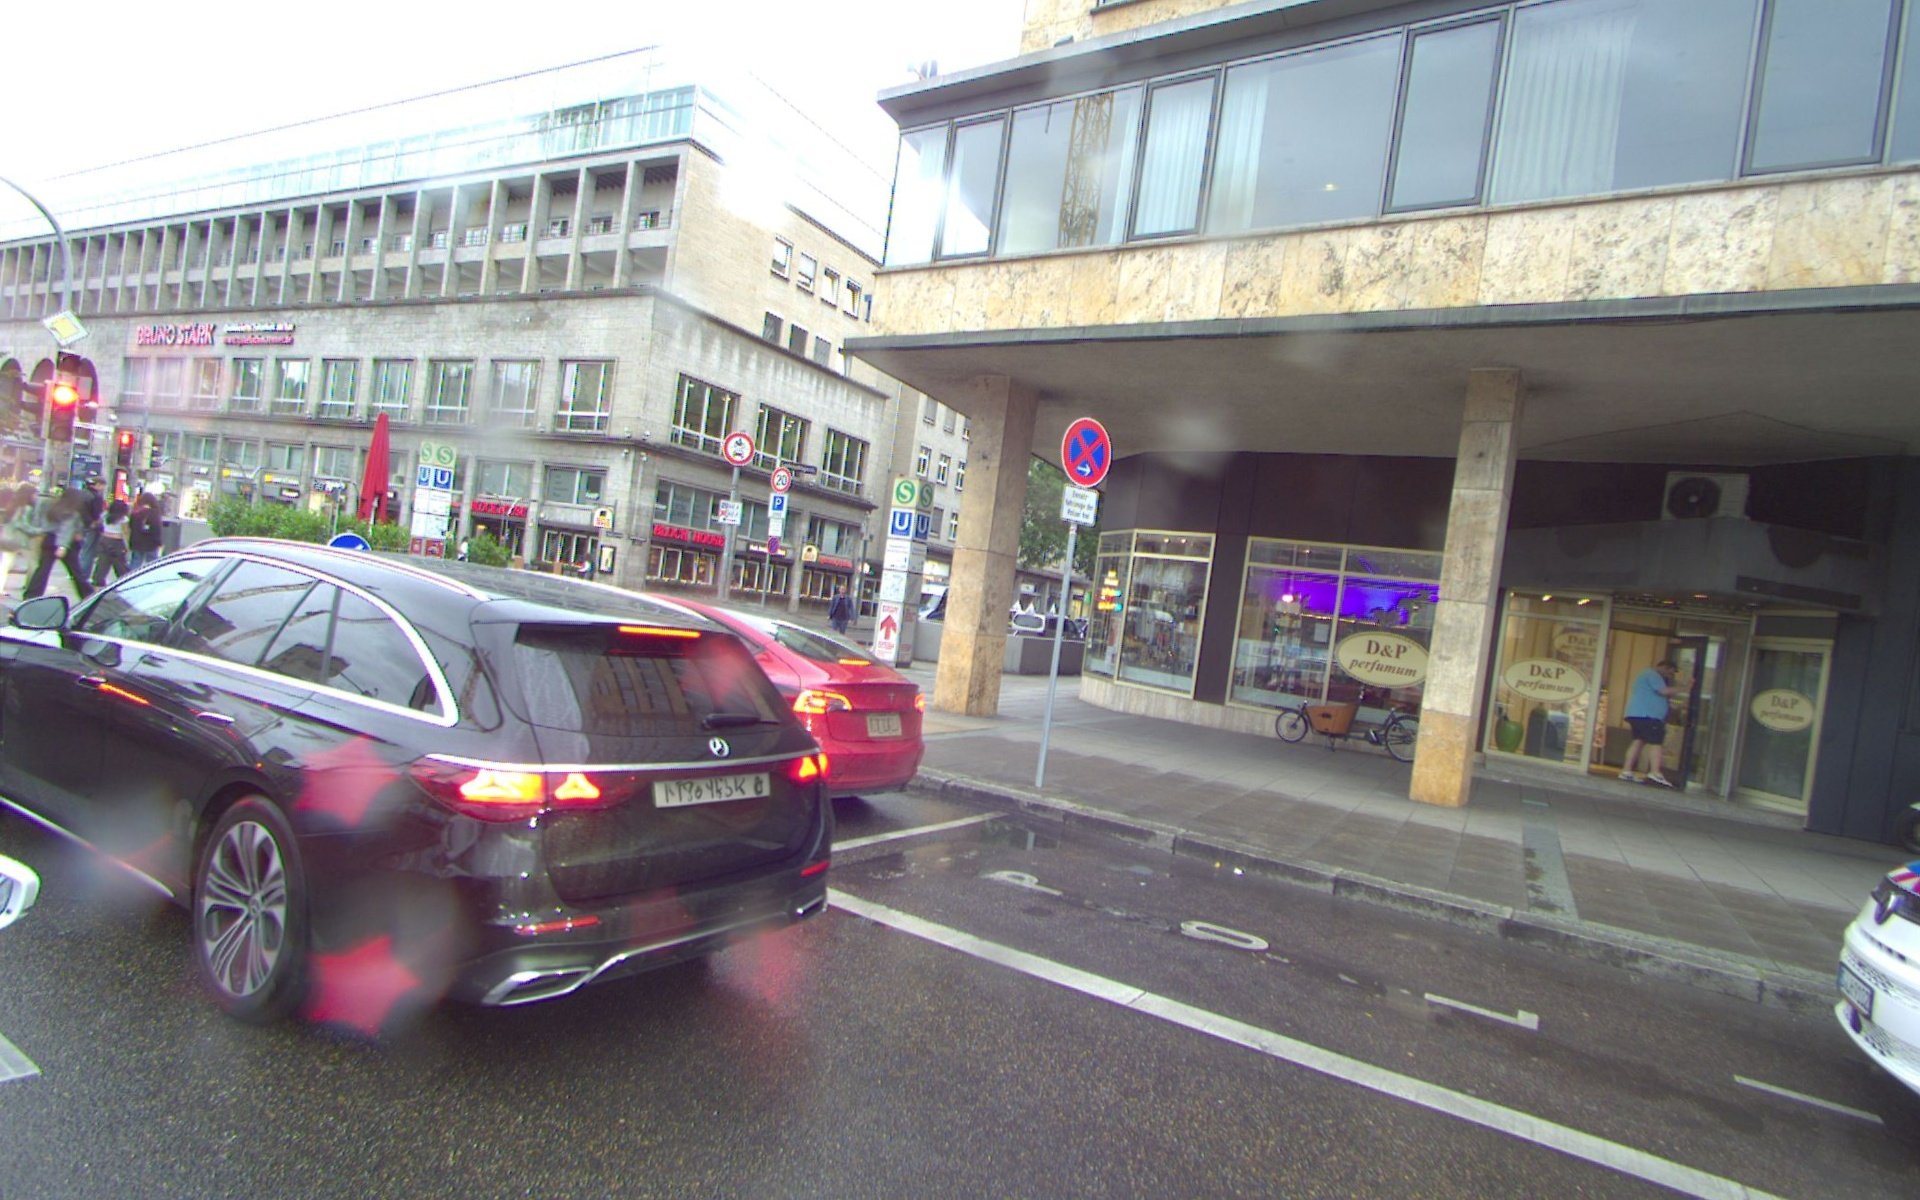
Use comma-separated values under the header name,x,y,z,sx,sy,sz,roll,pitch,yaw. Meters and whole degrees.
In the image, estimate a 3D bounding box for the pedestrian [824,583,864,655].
name,x,y,z,sx,sy,sz,roll,pitch,yaw
pedestrian,-3.034,0.491,26.228,0.768,1.777,0.503,8,-1,-15

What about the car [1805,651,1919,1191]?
name,x,y,z,sx,sy,sz,roll,pitch,yaw
car,5.967,1.420,3.007,4.853,1.942,1.878,6,-2,31

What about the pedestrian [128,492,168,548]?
name,x,y,z,sx,sy,sz,roll,pitch,yaw
pedestrian,-31.925,-3.116,39.562,0.754,2.037,0.822,8,-1,-16

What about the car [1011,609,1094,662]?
name,x,y,z,sx,sy,sz,roll,pitch,yaw
car,4.386,1.703,46.794,1.966,1.995,4.638,7,-1,29

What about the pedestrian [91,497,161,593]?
name,x,y,z,sx,sy,sz,roll,pitch,yaw
pedestrian,-14.036,-0.915,16.942,0.360,1.491,0.680,7,-1,27

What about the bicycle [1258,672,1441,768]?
name,x,y,z,sx,sy,sz,roll,pitch,yaw
bicycle,5.917,1.802,15.354,2.431,1.058,0.657,6,-1,32

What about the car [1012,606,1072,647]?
name,x,y,z,sx,sy,sz,roll,pitch,yaw
car,5.259,1.715,63.974,1.966,2.065,4.483,7,-2,29

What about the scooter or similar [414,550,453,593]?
name,x,y,z,sx,sy,sz,roll,pitch,yaw
scooter or similar,-16.365,-0.885,31.267,1.000,1.203,0.291,7,-1,13

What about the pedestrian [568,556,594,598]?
name,x,y,z,sx,sy,sz,roll,pitch,yaw
pedestrian,-15.031,-0.902,39.901,0.748,1.530,0.714,8,-1,-16

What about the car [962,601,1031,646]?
name,x,y,z,sx,sy,sz,roll,pitch,yaw
car,2.164,1.405,58.376,1.966,2.065,4.557,7,-2,29

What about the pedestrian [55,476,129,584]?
name,x,y,z,sx,sy,sz,roll,pitch,yaw
pedestrian,-15.177,-1.210,17.615,0.561,1.772,0.678,7,-1,-15

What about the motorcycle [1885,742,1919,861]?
name,x,y,z,sx,sy,sz,roll,pitch,yaw
motorcycle,11.144,2.275,10.490,2.074,1.232,0.567,6,-2,40

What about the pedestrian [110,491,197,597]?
name,x,y,z,sx,sy,sz,roll,pitch,yaw
pedestrian,-13.505,-0.934,16.855,0.609,1.627,0.801,7,-1,28

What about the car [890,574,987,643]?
name,x,y,z,sx,sy,sz,roll,pitch,yaw
car,-0.985,0.503,51.287,1.965,2.792,6.186,7,-2,28

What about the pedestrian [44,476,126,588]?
name,x,y,z,sx,sy,sz,roll,pitch,yaw
pedestrian,-14.649,-1.126,16.847,0.458,1.737,0.757,7,-1,28

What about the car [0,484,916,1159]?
name,x,y,z,sx,sy,sz,roll,pitch,yaw
car,-2.654,0.473,4.398,4.551,1.519,1.797,6,-2,31

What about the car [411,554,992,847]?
name,x,y,z,sx,sy,sz,roll,pitch,yaw
car,-2.203,0.664,8.196,4.451,1.503,1.878,6,-2,31

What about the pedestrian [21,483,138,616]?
name,x,y,z,sx,sy,sz,roll,pitch,yaw
pedestrian,-12.004,-0.676,13.723,0.884,1.645,0.795,7,-1,28

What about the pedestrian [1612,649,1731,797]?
name,x,y,z,sx,sy,sz,roll,pitch,yaw
pedestrian,9.721,1.662,13.746,1.119,1.811,0.798,6,-1,39
